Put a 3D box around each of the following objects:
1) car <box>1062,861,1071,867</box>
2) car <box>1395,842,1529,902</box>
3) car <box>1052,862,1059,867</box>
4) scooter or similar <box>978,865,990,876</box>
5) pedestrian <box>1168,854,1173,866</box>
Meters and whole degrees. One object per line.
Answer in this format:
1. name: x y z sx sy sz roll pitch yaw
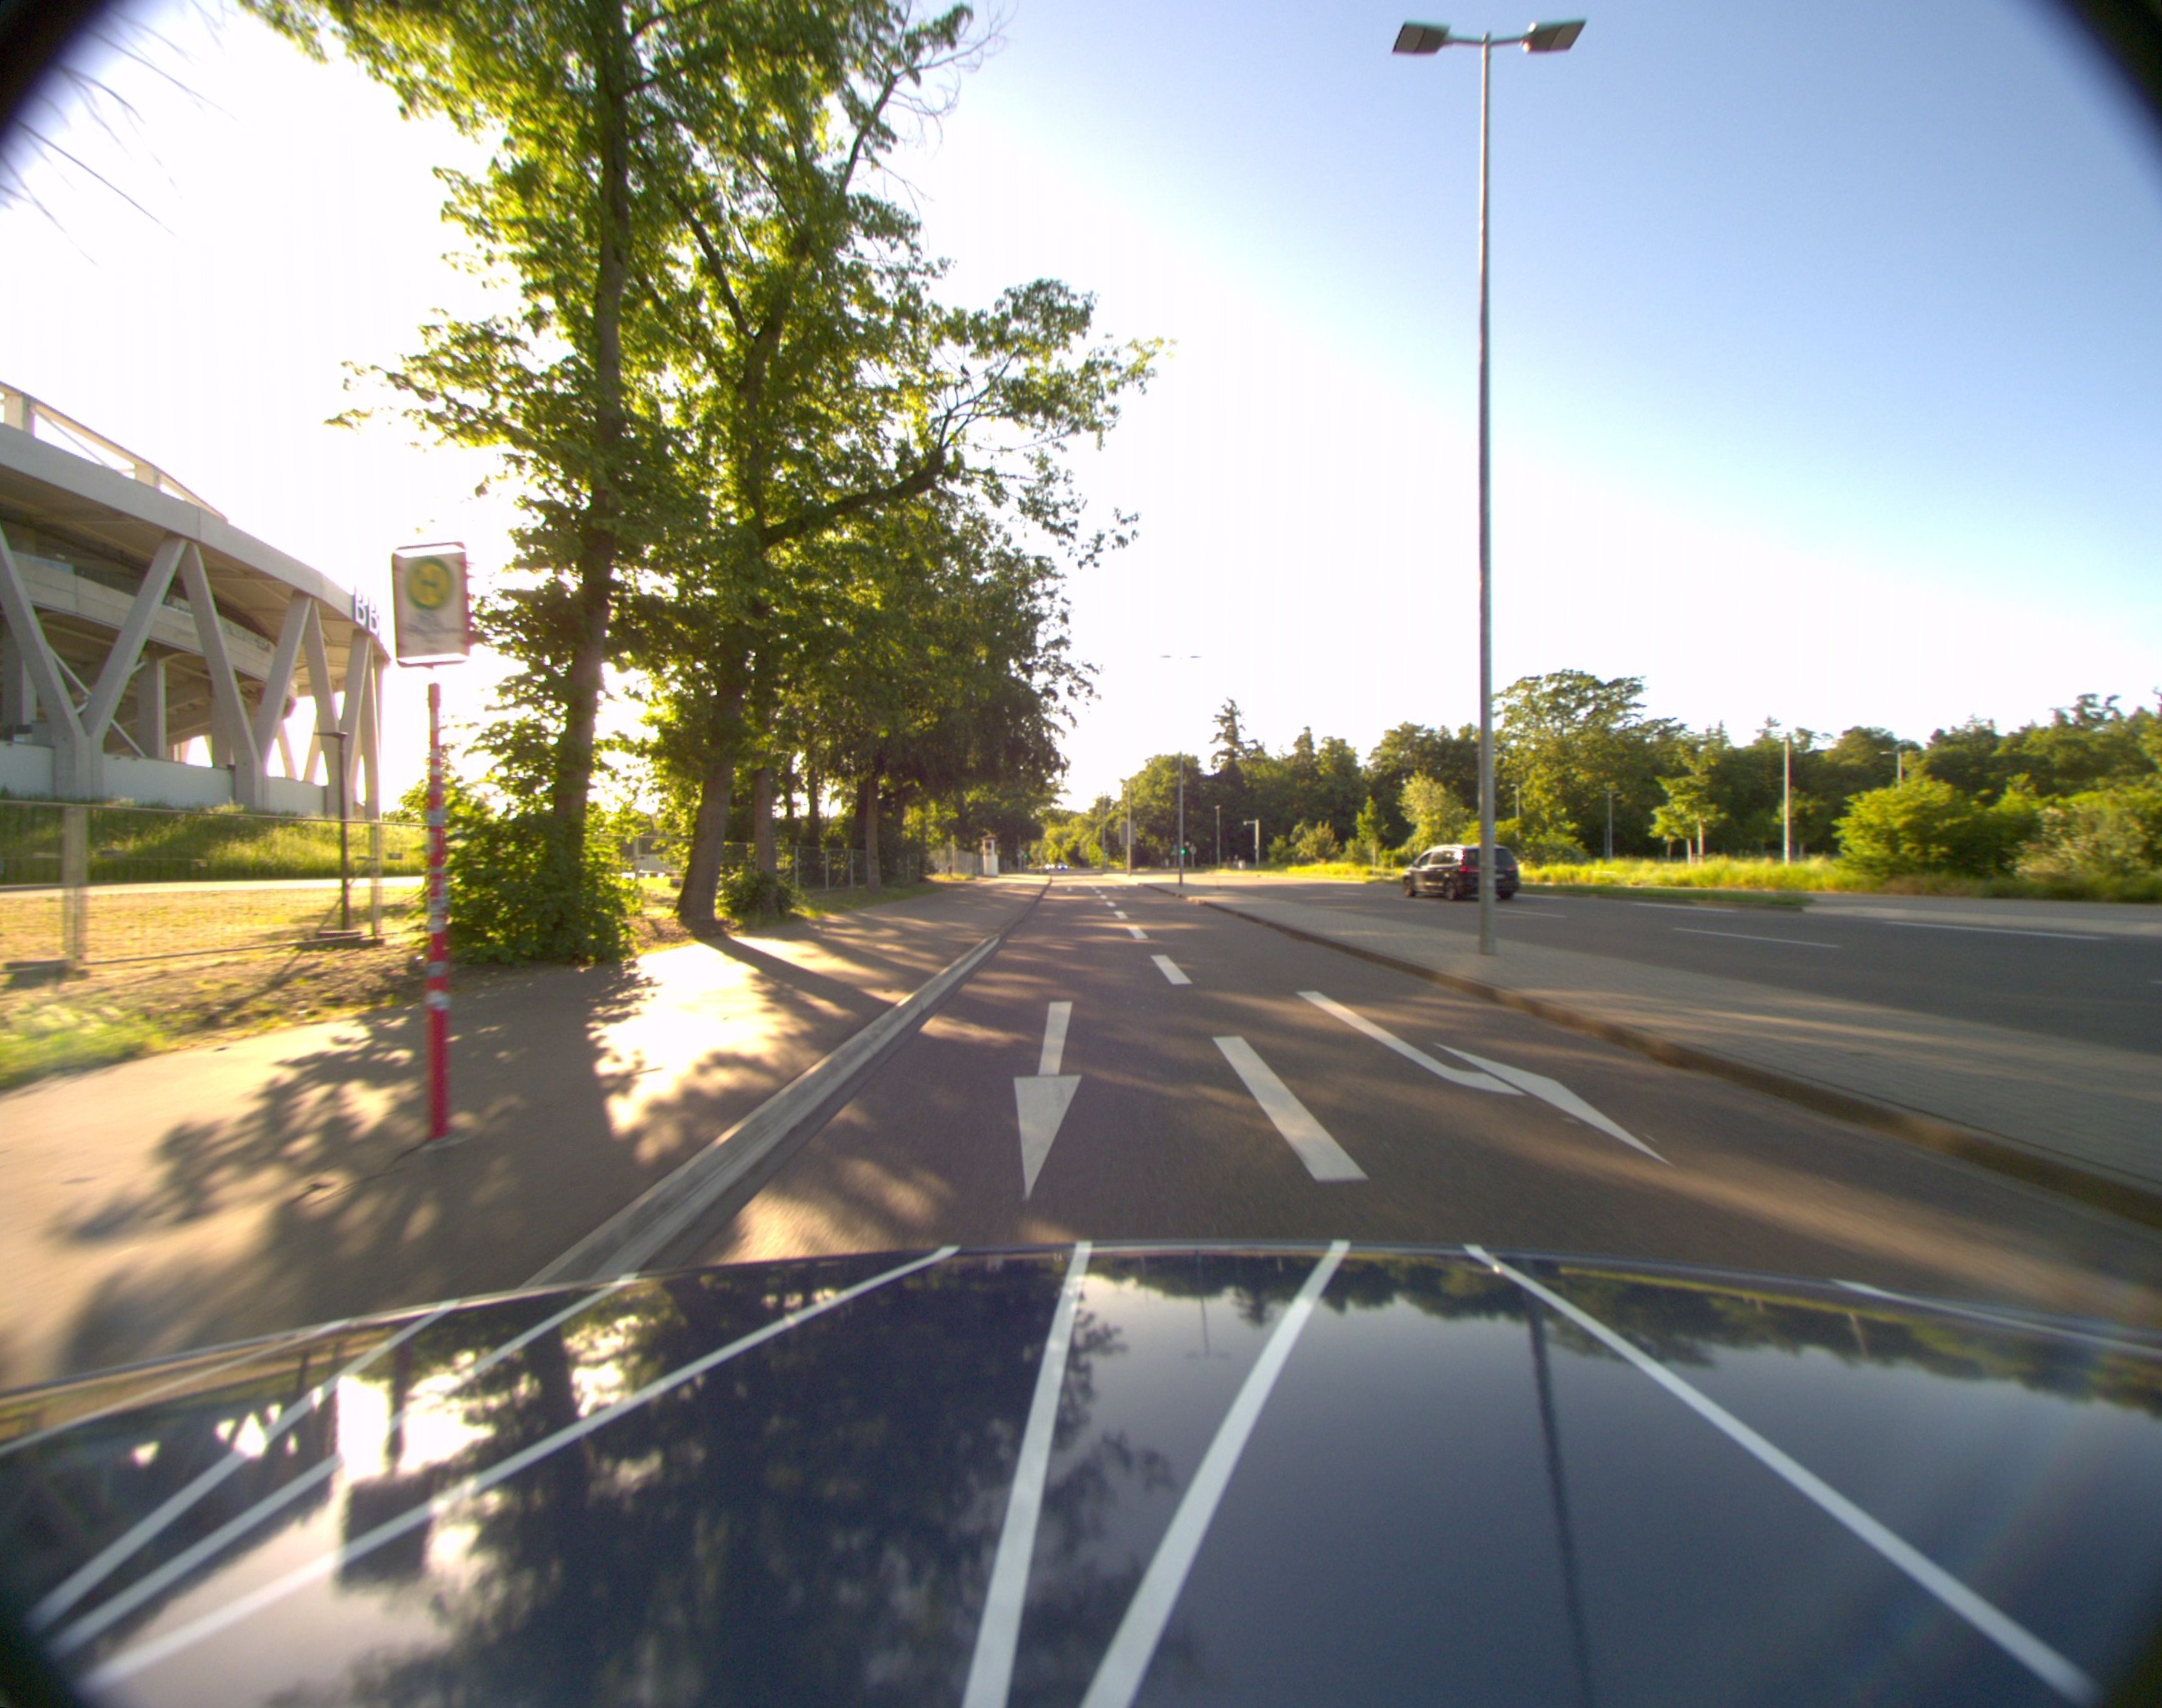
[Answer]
1. car: -3.491 2.357 180.264 1.841 1.394 3.999 -2 0 -3
2. car: 11.928 0.548 24.186 1.787 1.682 4.702 -2 -1 -1
3. car: -6.998 2.819 209.834 1.841 1.394 4.990 -2 0 -4
4. scooter or similar: -10.512 1.760 82.338 1.303 1.230 0.334 0 0 -36
5. pedestrian: 14.176 0.942 120.324 0.691 1.764 0.734 0 0 1
